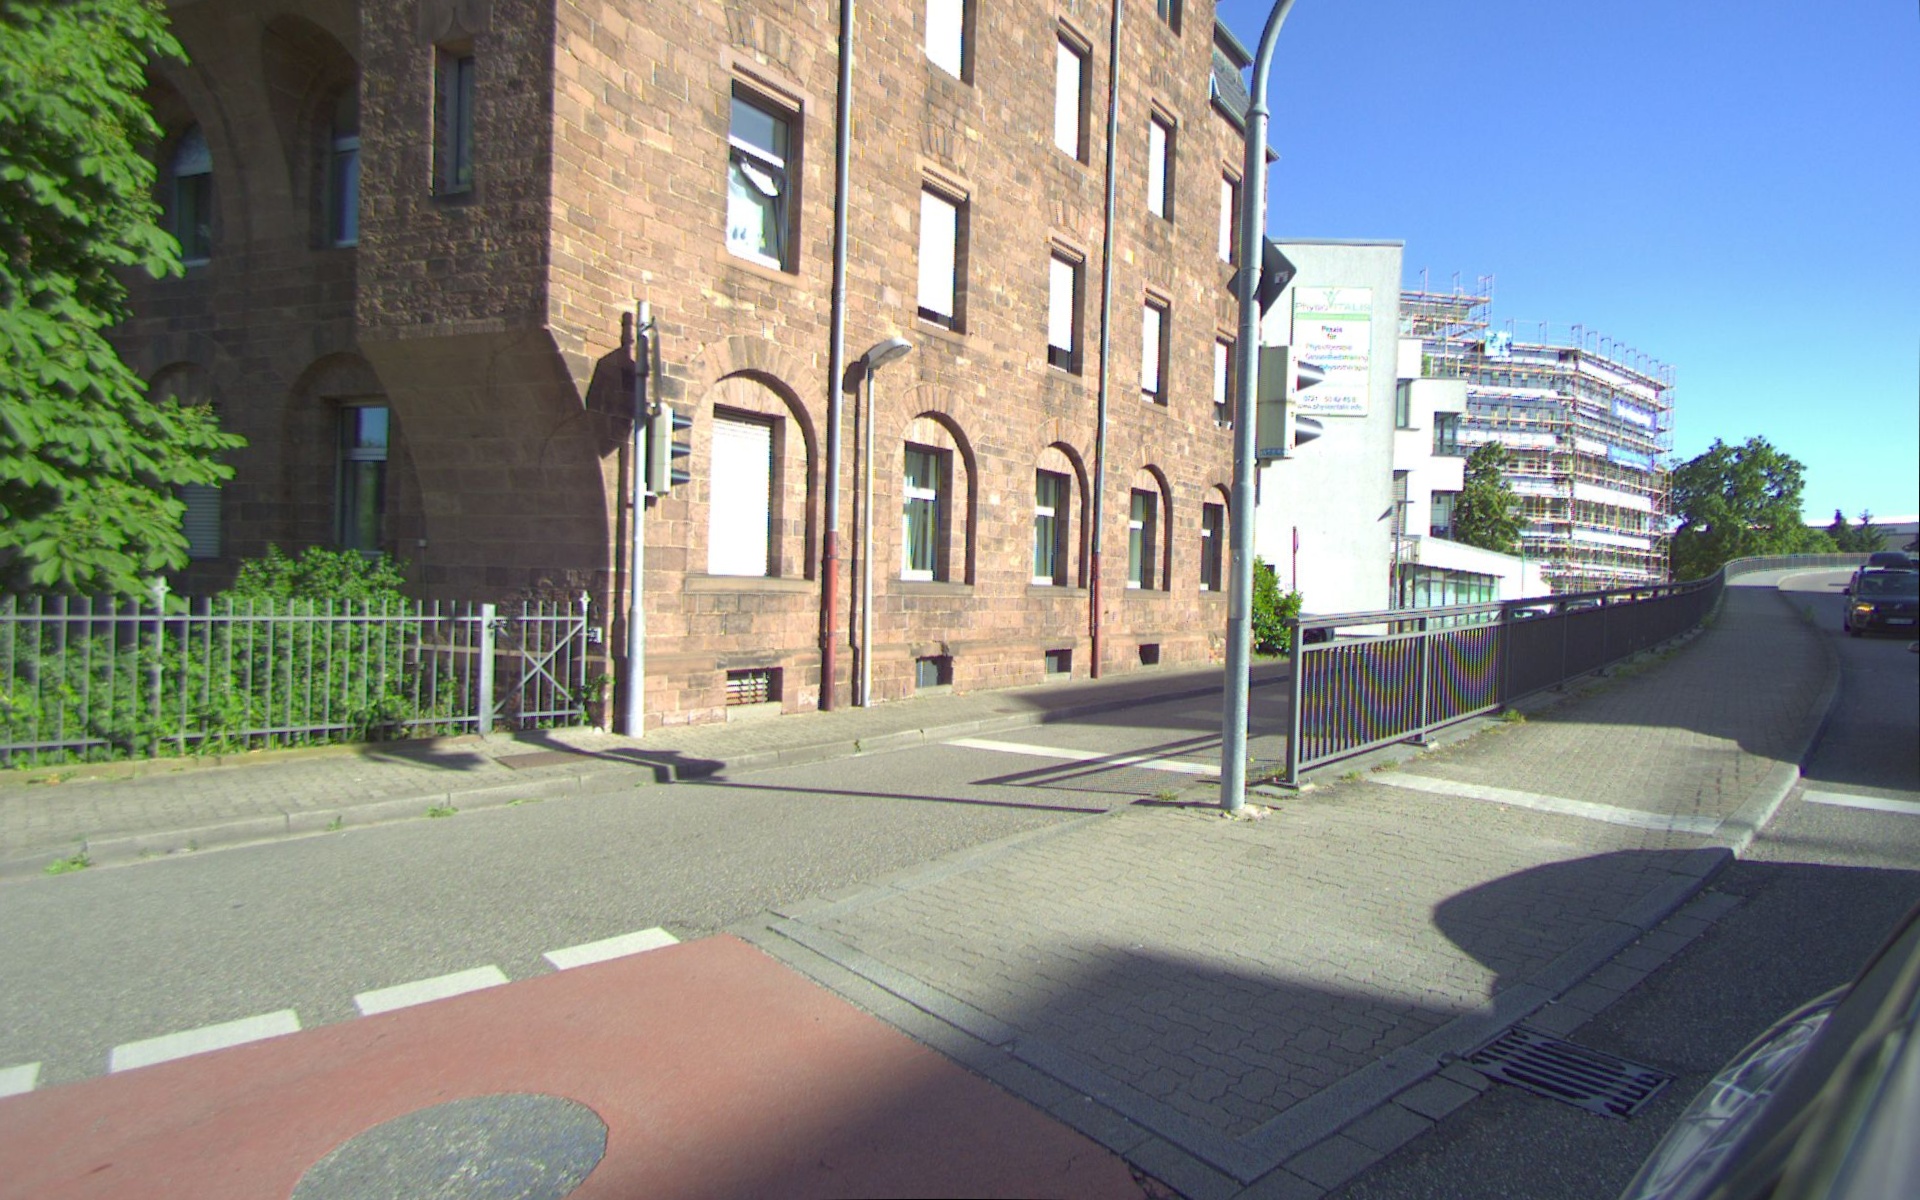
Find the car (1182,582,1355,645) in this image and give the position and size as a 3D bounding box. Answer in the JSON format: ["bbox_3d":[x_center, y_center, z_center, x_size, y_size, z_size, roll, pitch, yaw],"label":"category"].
[{"bbox_3d":[9.093,0.376,30.071,4.562,1.789,1.828,0,2,2],"label":"car"}]

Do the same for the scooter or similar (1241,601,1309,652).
[{"bbox_3d":[7.902,0.660,25.387,1.453,1.234,0.775,-1,-1,35],"label":"scooter or similar"}]

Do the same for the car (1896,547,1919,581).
[{"bbox_3d":[60.827,-2.263,64.173,1.995,1.959,4.773,3,1,45],"label":"car"}]

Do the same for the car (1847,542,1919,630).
[{"bbox_3d":[25.571,-0.411,27.480,1.901,2.241,4.537,1,2,37],"label":"car"}]

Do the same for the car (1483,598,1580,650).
[{"bbox_3d":[19.116,0.753,33.774,1.844,1.448,4.611,1,3,42],"label":"car"}]

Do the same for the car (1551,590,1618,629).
[{"bbox_3d":[27.584,0.405,44.663,1.843,1.554,3.940,3,2,41],"label":"car"}]
